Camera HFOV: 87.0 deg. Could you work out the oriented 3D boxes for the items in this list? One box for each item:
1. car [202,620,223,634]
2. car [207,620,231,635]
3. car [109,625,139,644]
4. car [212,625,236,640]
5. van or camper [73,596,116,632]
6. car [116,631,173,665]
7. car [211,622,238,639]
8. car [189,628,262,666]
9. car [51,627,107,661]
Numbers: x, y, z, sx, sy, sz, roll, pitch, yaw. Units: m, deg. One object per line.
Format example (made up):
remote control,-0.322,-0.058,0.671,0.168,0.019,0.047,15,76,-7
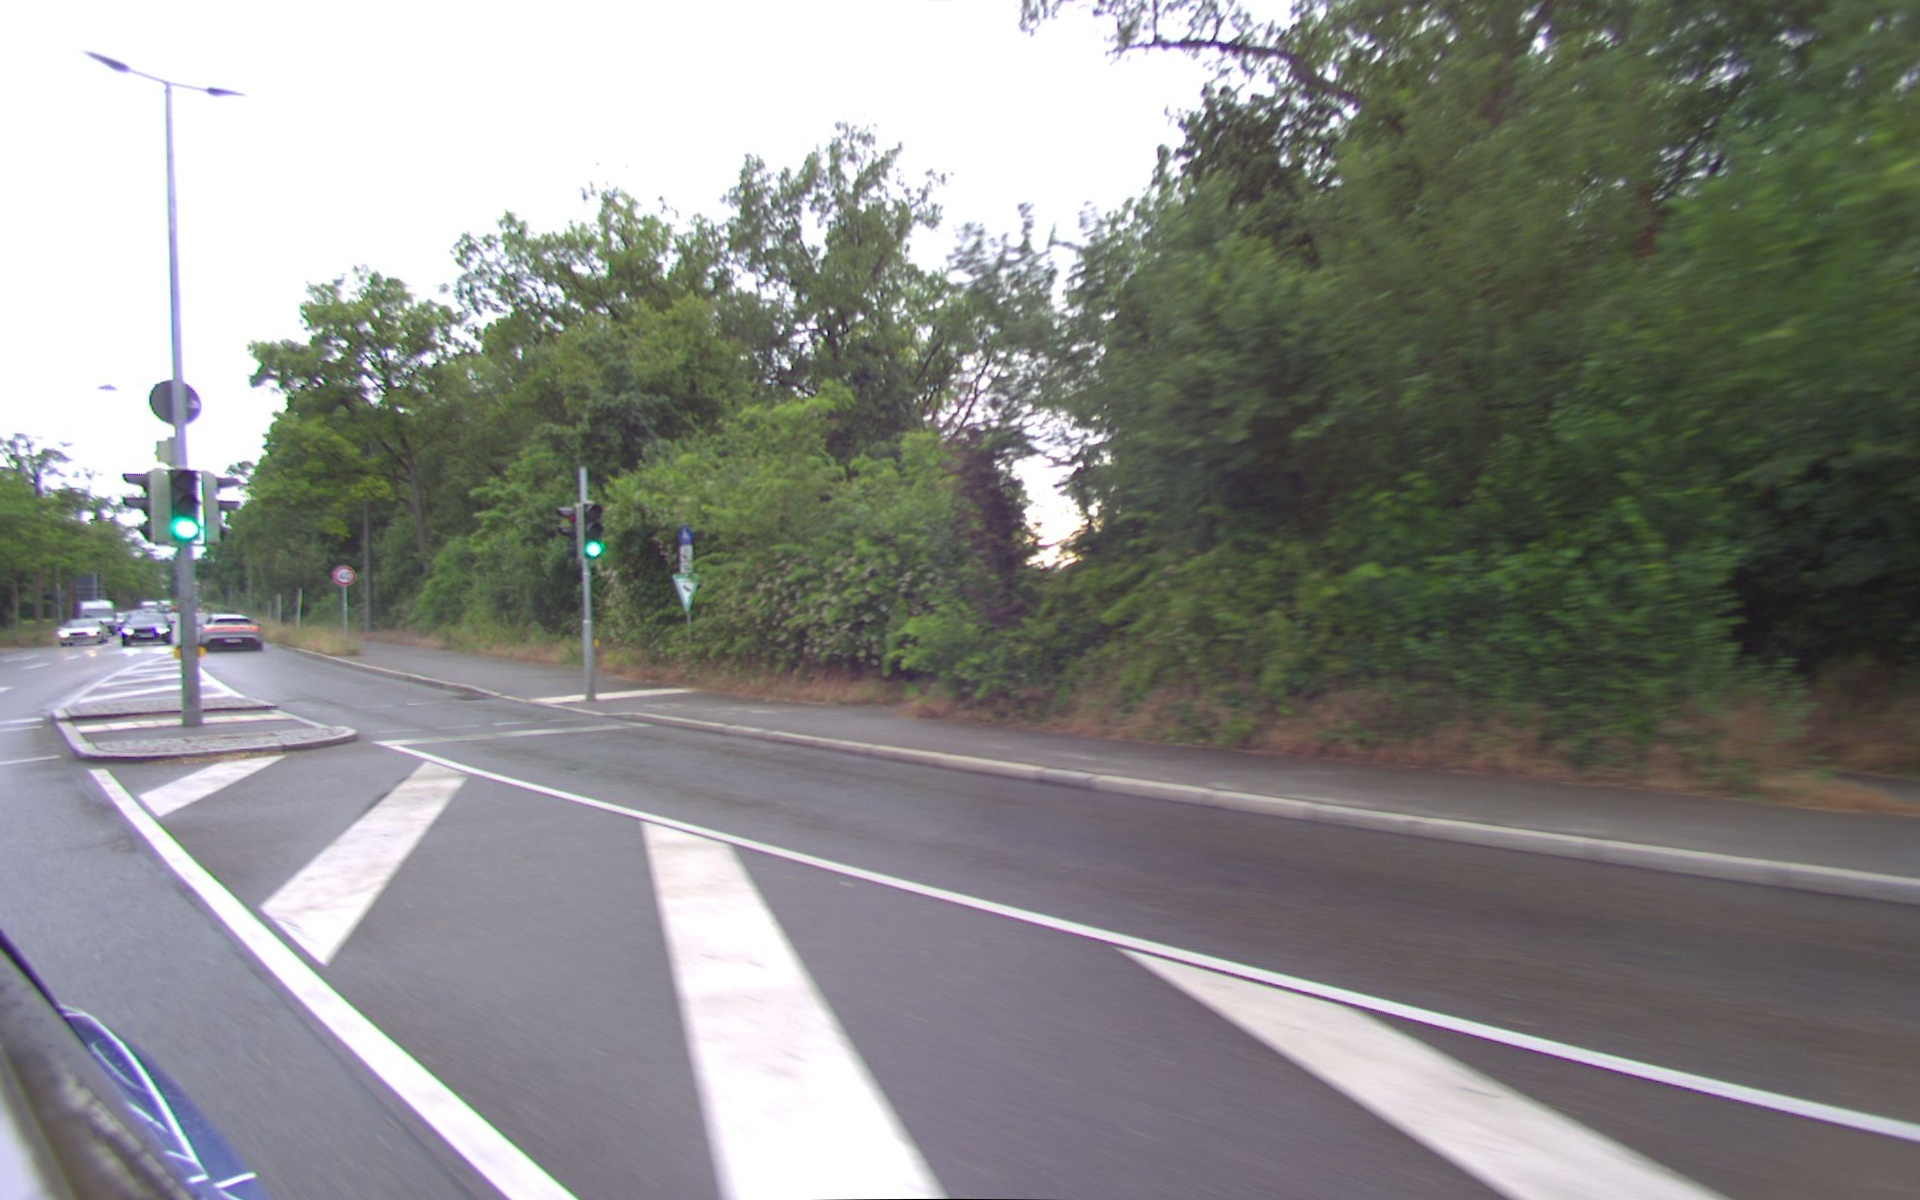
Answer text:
car,-89.819,3.290,121.591,1.915,1.615,4.613,1,-2,-38
car,-82.487,3.090,112.634,1.915,1.615,4.613,1,-2,-38
car,-73.697,3.000,89.239,1.915,1.615,4.613,1,-2,-38
car,-78.393,3.440,107.747,1.915,1.615,4.613,1,-2,-38
van or camper,-63.012,1.035,73.761,1.967,2.471,4.733,-1,0,-36
car,-37.286,2.147,46.248,1.915,1.466,4.612,1,-2,-40
car,-73.313,3.066,100.851,1.915,1.615,4.613,1,-2,-38
car,-28.644,1.785,39.424,1.916,1.386,4.611,1,-2,-41
car,-44.976,2.213,51.728,1.915,1.615,4.613,1,-2,-38
